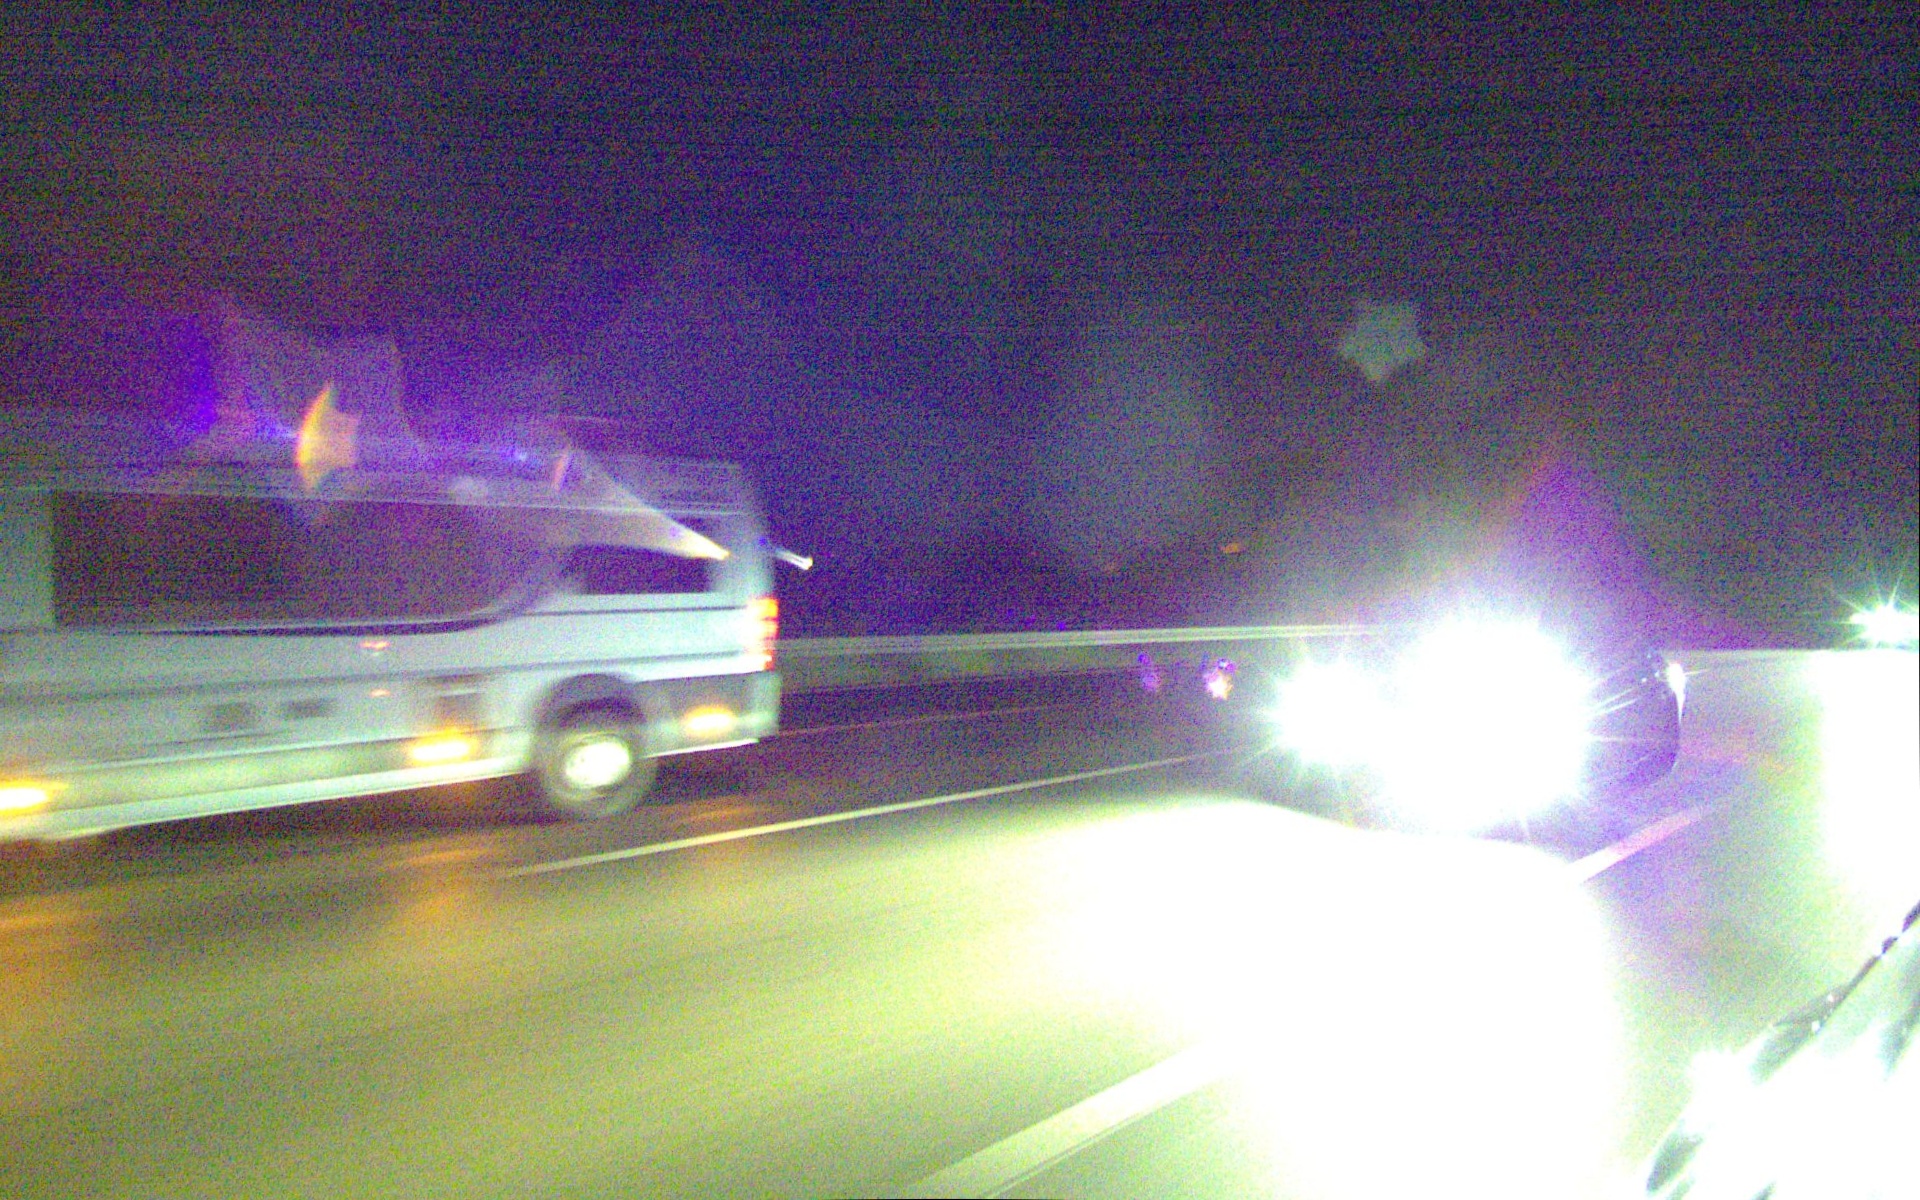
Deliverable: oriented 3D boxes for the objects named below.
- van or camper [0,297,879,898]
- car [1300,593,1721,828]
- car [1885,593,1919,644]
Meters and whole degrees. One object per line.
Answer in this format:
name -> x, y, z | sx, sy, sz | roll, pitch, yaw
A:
van or camper -> -3.873, -0.015, 6.734 | 6.686, 2.807, 2.210 | 0, 0, -41
car -> 4.709, 0.687, 8.391 | 4.151, 1.431, 1.689 | 0, 2, -41
car -> 31.444, 0.584, 32.724 | 4.151, 1.560, 1.794 | 0, 1, -41
